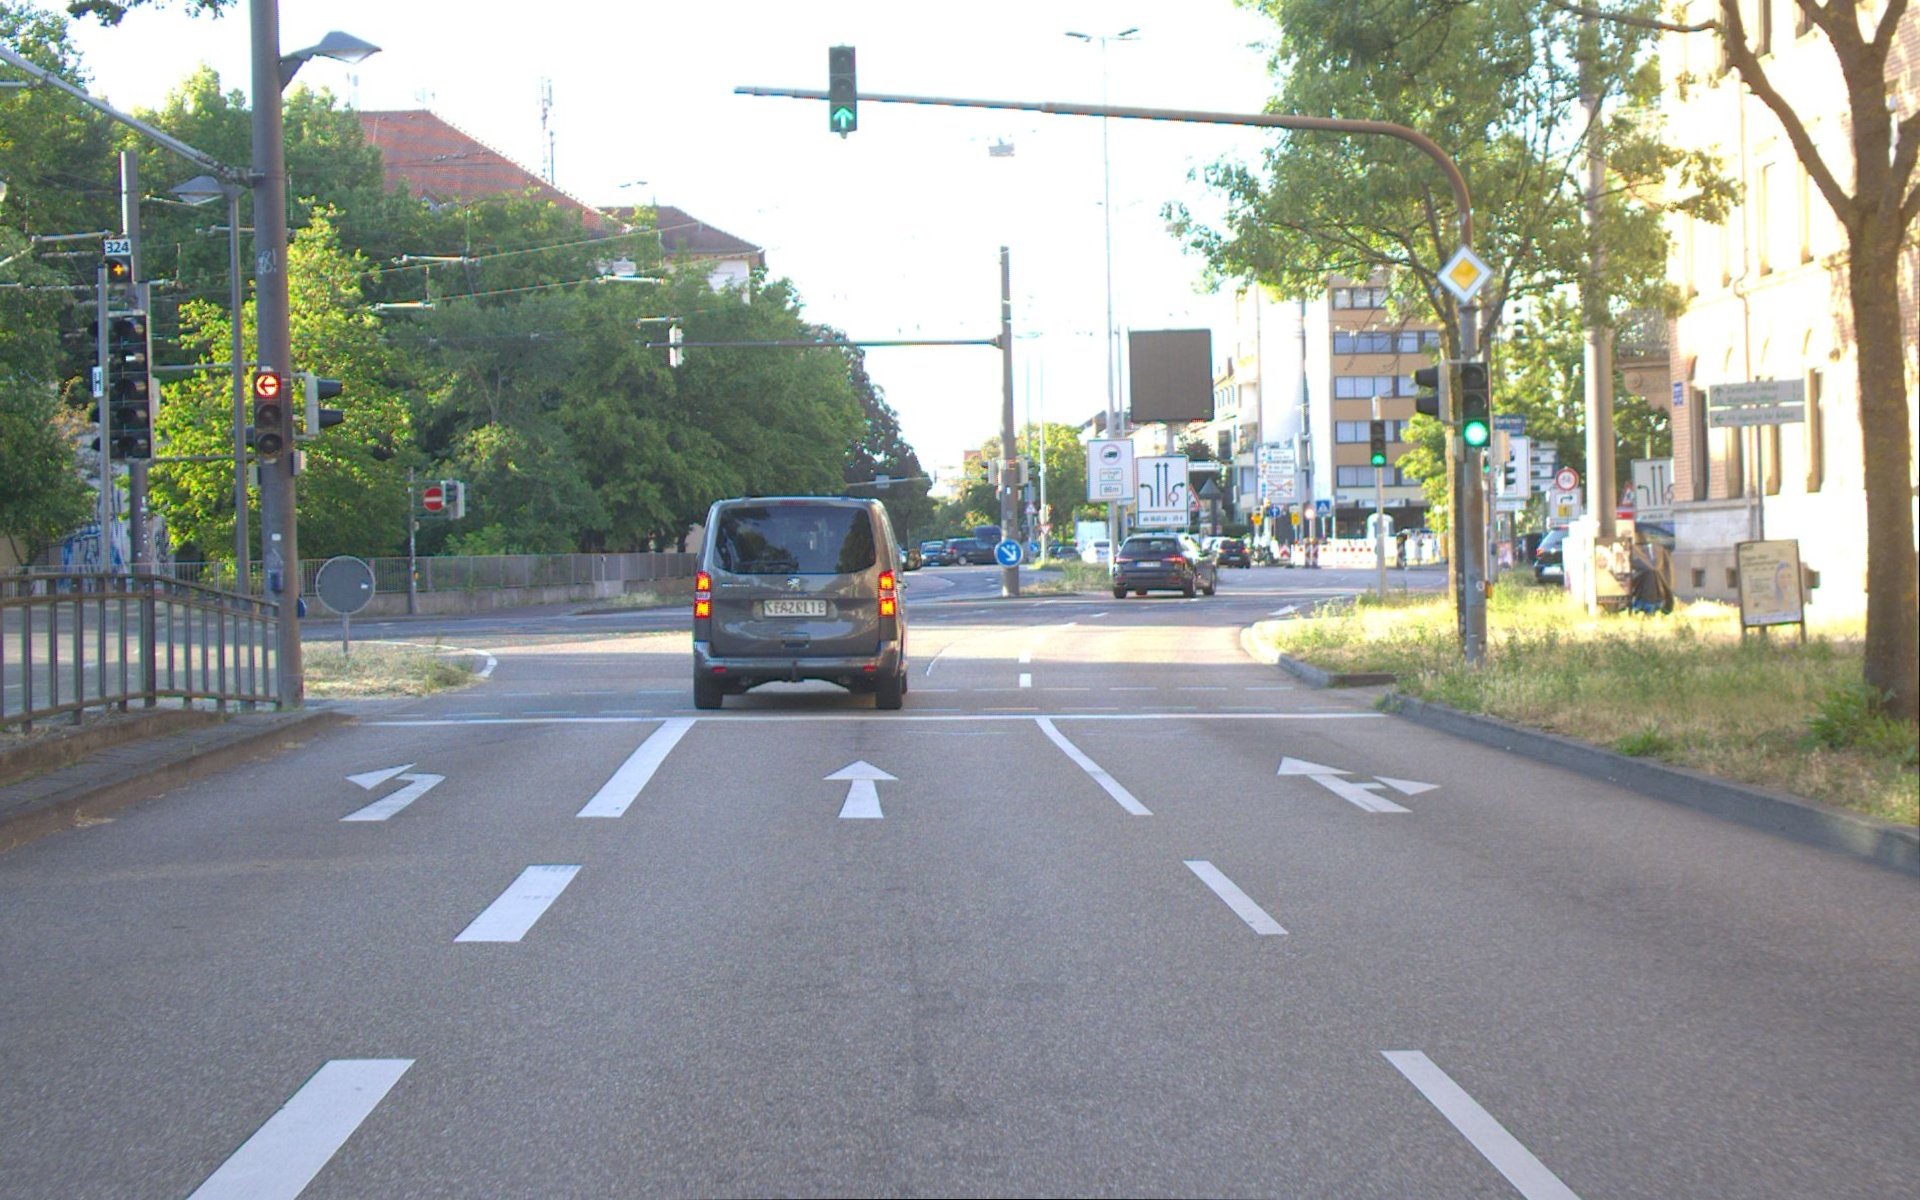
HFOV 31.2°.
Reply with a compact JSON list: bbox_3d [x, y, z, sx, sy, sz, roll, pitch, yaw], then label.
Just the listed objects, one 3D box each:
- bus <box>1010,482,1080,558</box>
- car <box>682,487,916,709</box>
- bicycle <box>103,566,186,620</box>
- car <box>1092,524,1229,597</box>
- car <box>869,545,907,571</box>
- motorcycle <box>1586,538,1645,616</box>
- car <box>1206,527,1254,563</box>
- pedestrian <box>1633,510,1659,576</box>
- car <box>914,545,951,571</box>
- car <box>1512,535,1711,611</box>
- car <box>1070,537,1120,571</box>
[{"bbox_3d":[5.242,-4.947,214.814,3.289,4.601,10.002,0,1,-5],"label":"bus"},{"bbox_3d":[-1.472,-0.051,31.829,1.993,1.894,4.299,1,1,-2],"label":"car"},{"bbox_3d":[-18.002,-0.162,75.887,1.717,1.138,0.559,-2,2,-43],"label":"bicycle"},{"bbox_3d":[4.456,-0.887,75.959,1.848,1.539,3.627,-1,1,24],"label":"car"},{"bbox_3d":[-4.602,-2.701,220.488,1.994,1.590,3.999,-1,1,5],"label":"car"},{"bbox_3d":[9.002,-0.330,47.249,0.604,1.040,1.744,-1,1,5],"label":"motorcycle"},{"bbox_3d":[13.236,-2.702,168.808,1.993,1.651,4.299,-1,1,0],"label":"car"},{"bbox_3d":[17.106,-1.430,85.719,0.552,1.623,0.699,-1,1,8],"label":"pedestrian"},{"bbox_3d":[-1.768,-2.719,220.899,1.994,1.590,3.999,-1,1,5],"label":"car"},{"bbox_3d":[13.251,-0.571,69.797,3.989,1.505,1.999,-1,1,-43],"label":"car"},{"bbox_3d":[6.780,-2.318,173.025,1.993,1.651,4.300,-1,1,-4],"label":"car"}]
